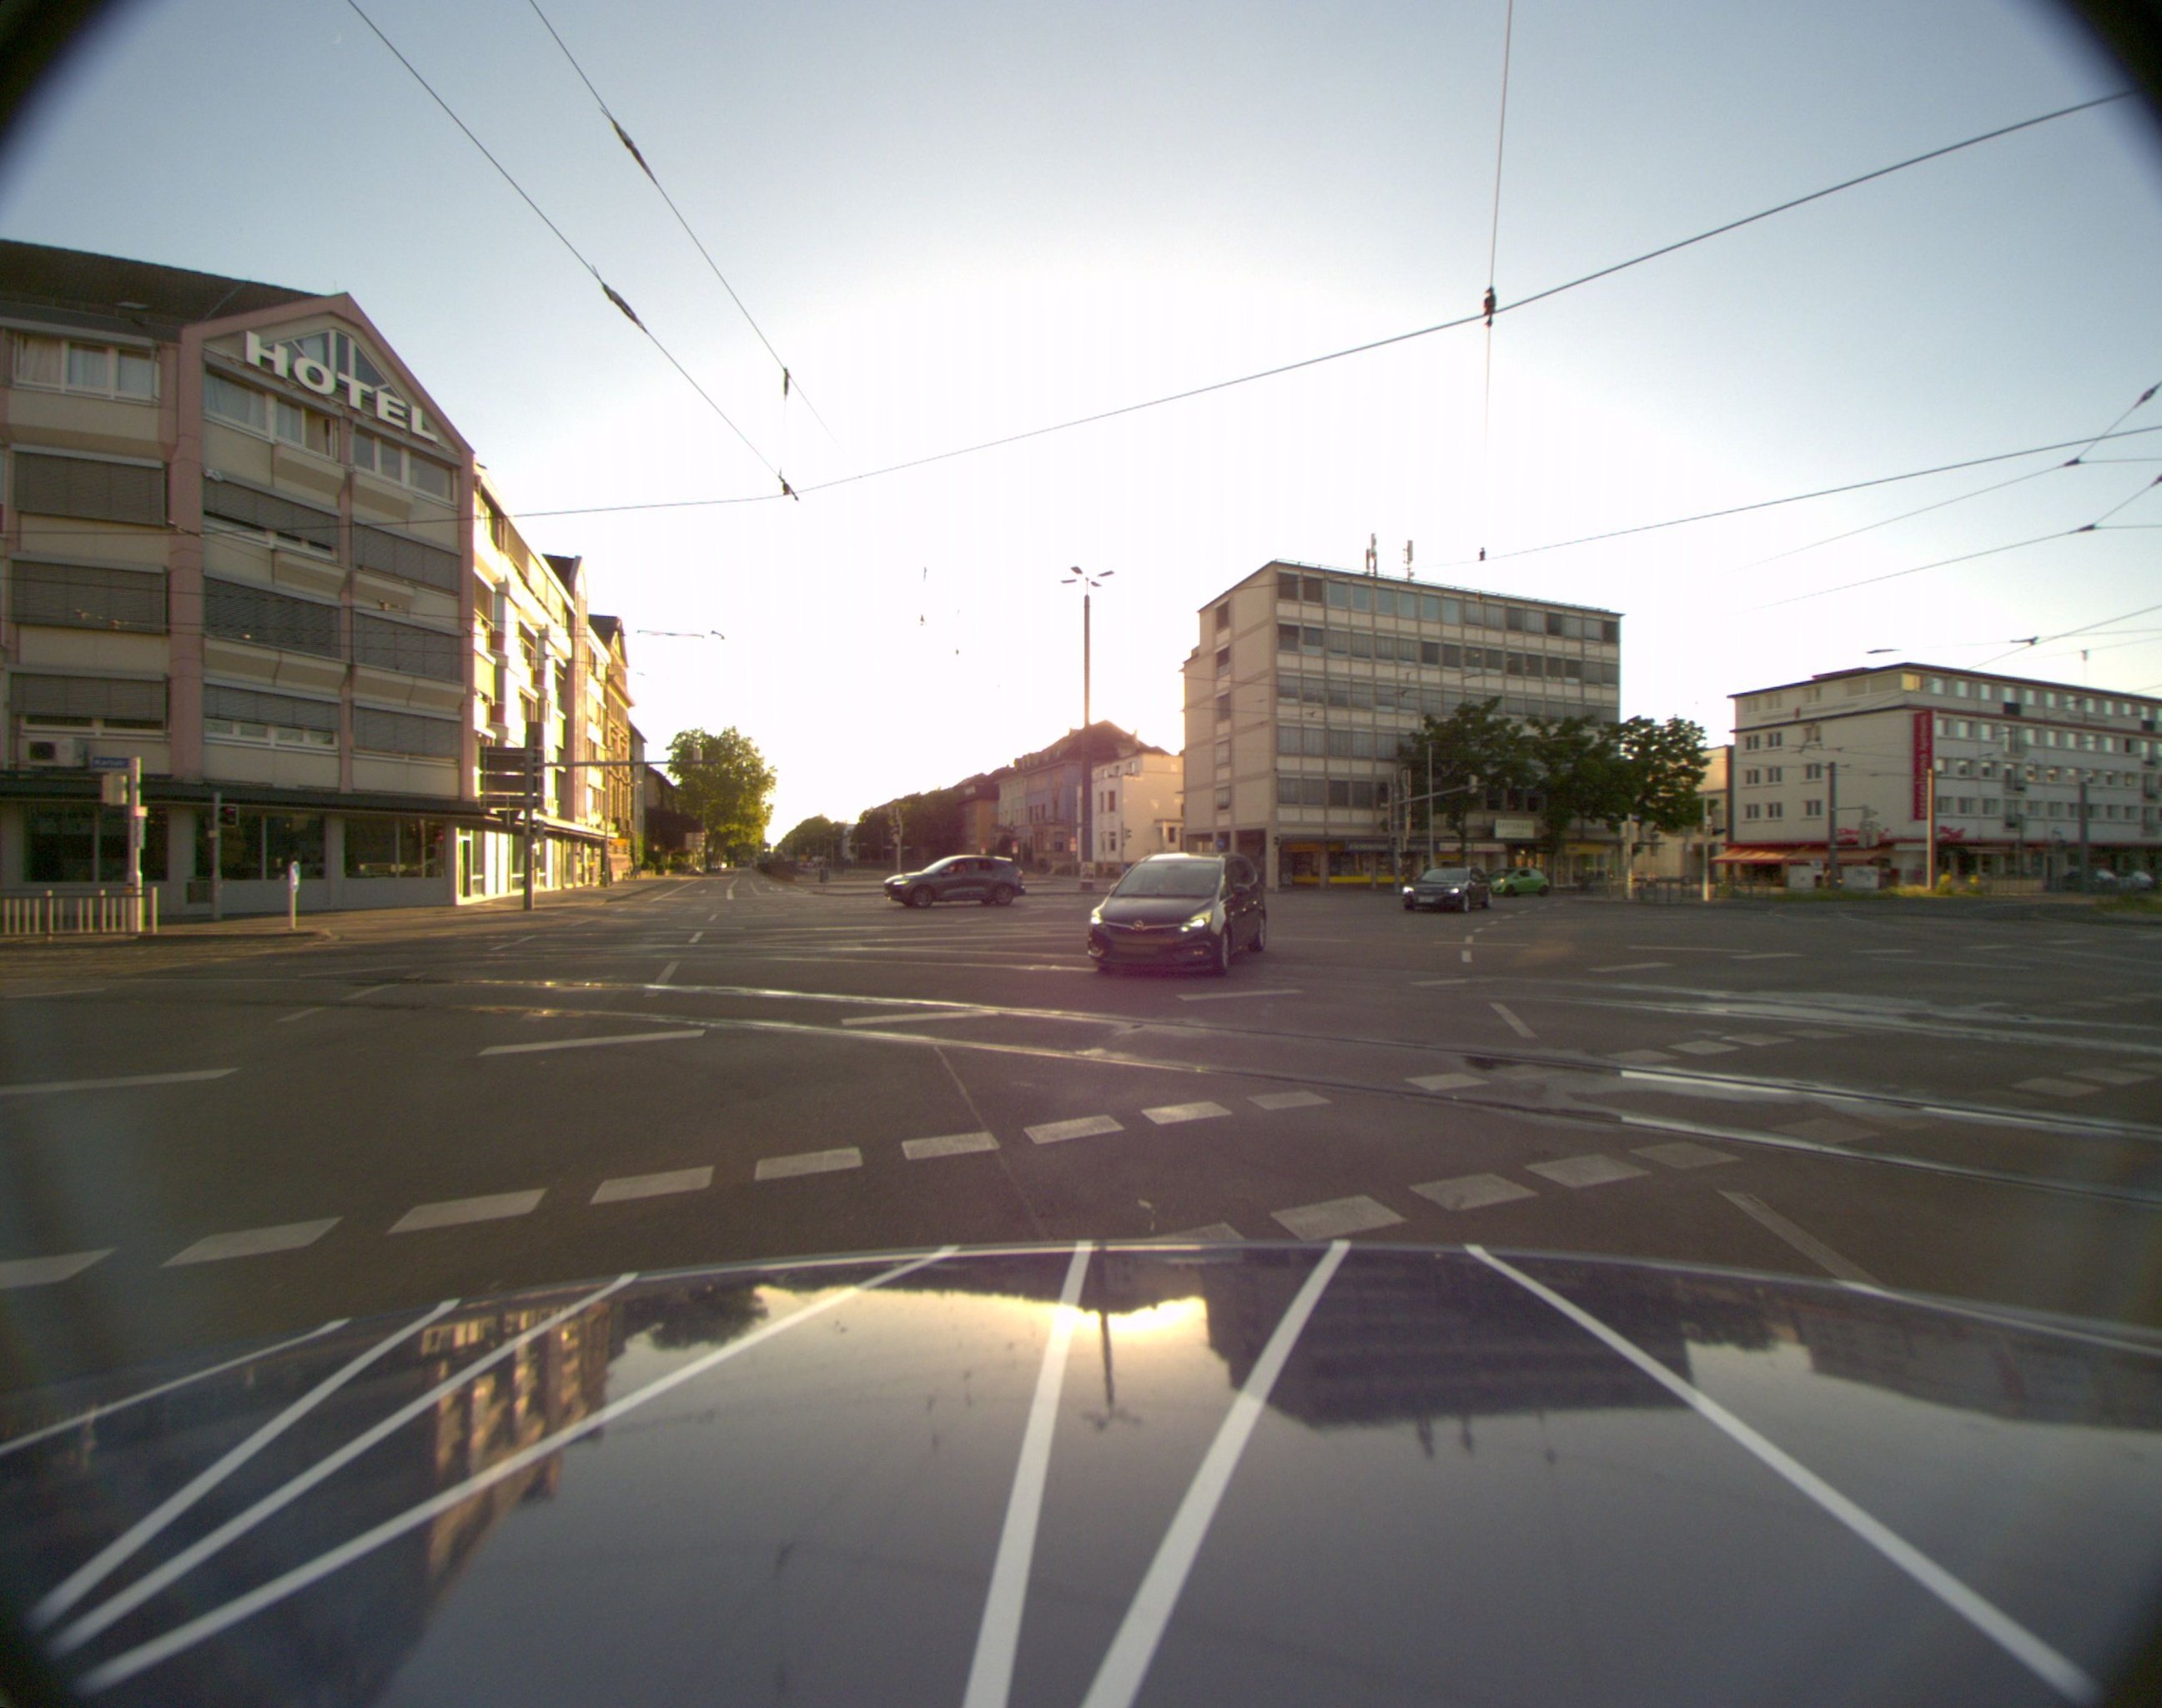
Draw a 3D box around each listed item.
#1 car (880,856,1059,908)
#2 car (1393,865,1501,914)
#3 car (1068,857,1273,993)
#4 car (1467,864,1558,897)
[{"bbox_3d":[-3.696,0.873,25.508,5.586,1.618,2.027,0,0,-27],"label":"car"},{"bbox_3d":[11.772,1.068,24.313,1.847,1.399,4.234,0,0,44],"label":"car"},{"bbox_3d":[1.564,0.857,11.373,1.797,1.609,4.394,0,0,24],"label":"car"},{"bbox_3d":[21.224,1.275,37.405,4.028,1.557,1.746,0,0,-21],"label":"car"}]
